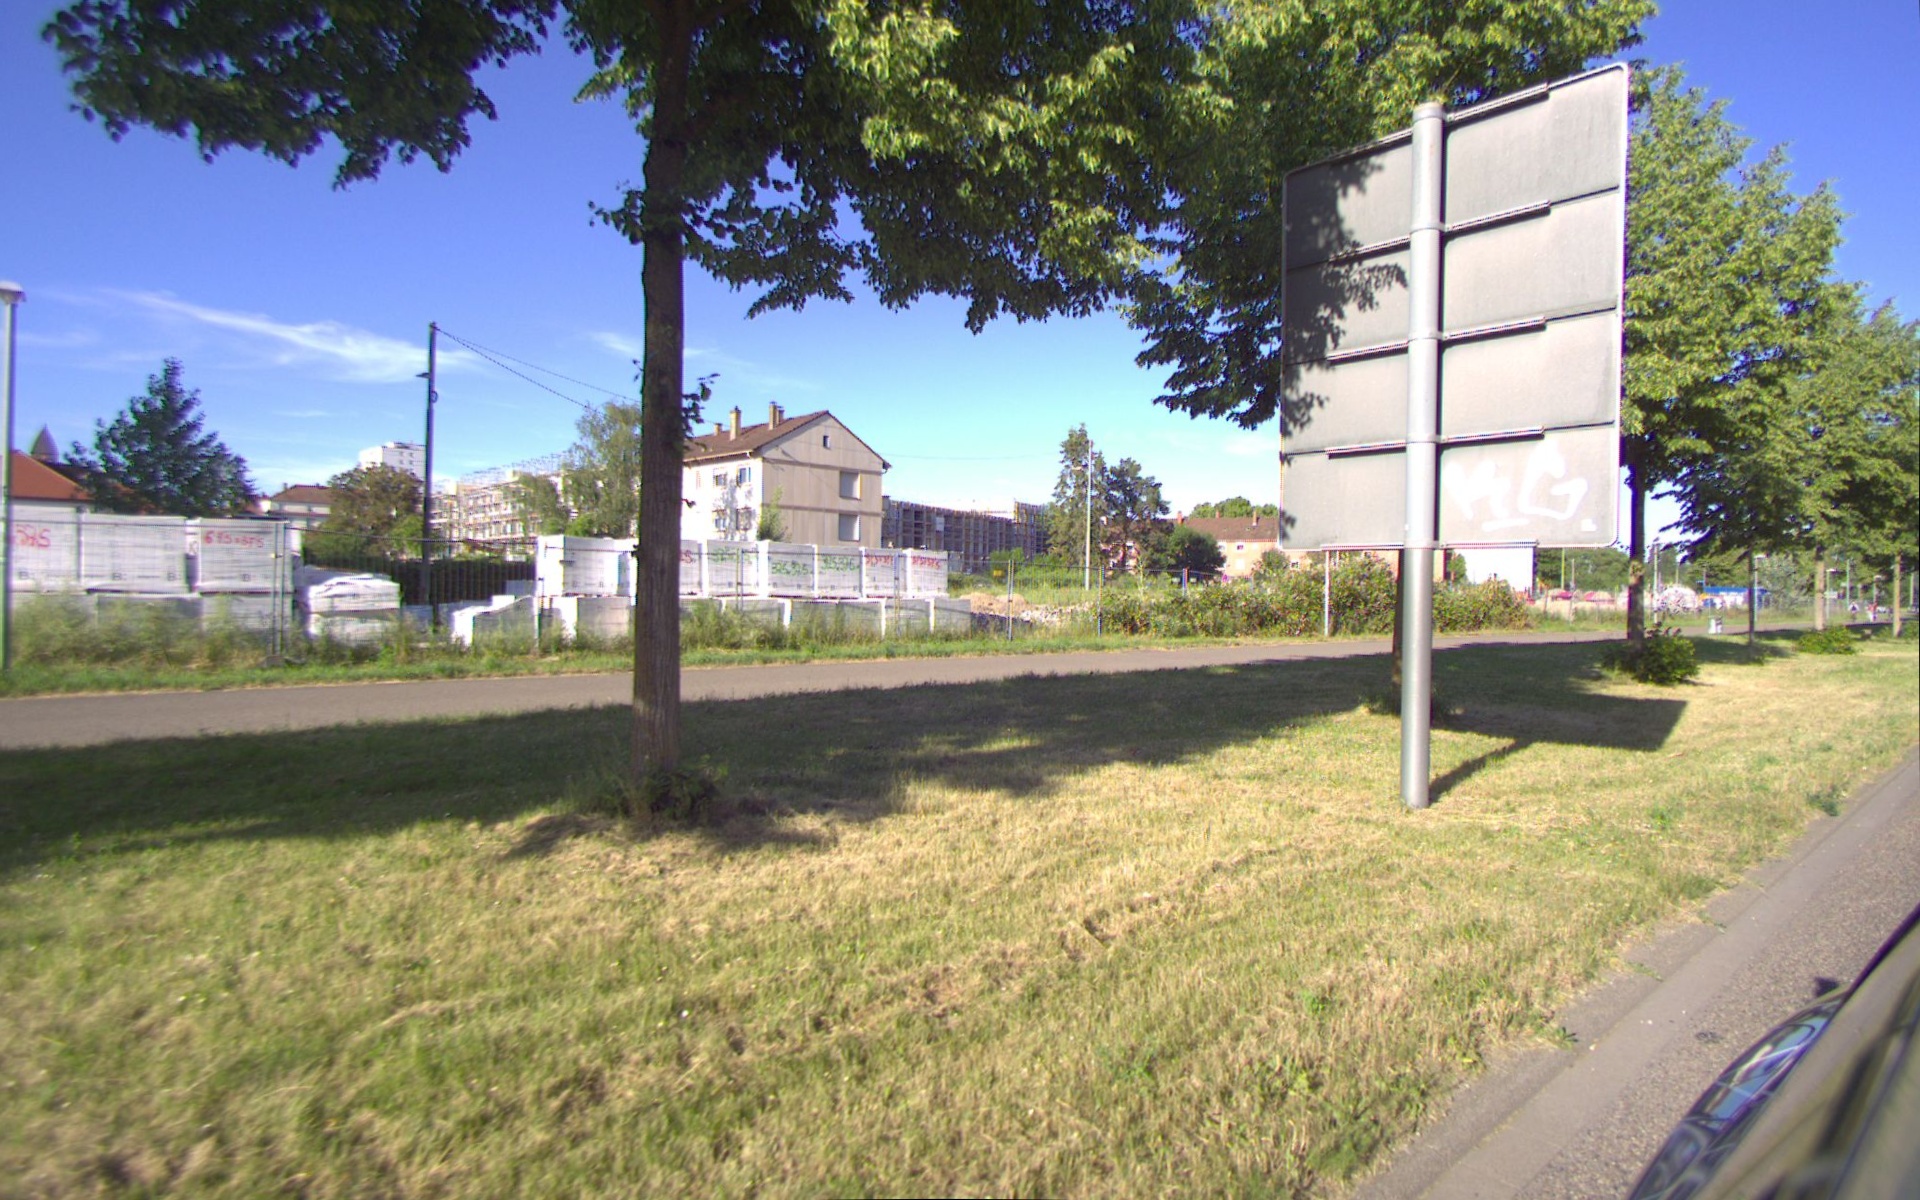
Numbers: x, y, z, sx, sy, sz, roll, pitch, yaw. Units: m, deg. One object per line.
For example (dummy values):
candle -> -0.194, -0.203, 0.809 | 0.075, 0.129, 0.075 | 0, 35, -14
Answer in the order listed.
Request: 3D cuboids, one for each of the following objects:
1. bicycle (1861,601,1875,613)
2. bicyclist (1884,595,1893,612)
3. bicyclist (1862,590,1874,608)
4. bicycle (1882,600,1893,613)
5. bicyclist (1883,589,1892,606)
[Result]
bicycle -> 80.037, 0.618, 89.211 | 1.788, 1.025, 0.656 | 1, -1, -41
bicyclist -> 88.282, 0.319, 96.225 | 0.949, 1.606, 0.592 | -2, 1, -43
bicyclist -> 80.069, -0.060, 89.230 | 0.781, 1.572, 0.654 | 0, 1, -40
bicycle -> 80.702, 0.561, 88.041 | 1.577, 1.166, 0.506 | 0, 2, -42
bicyclist -> 80.674, -0.201, 88.032 | 0.820, 1.491, 0.503 | 0, 1, -43
